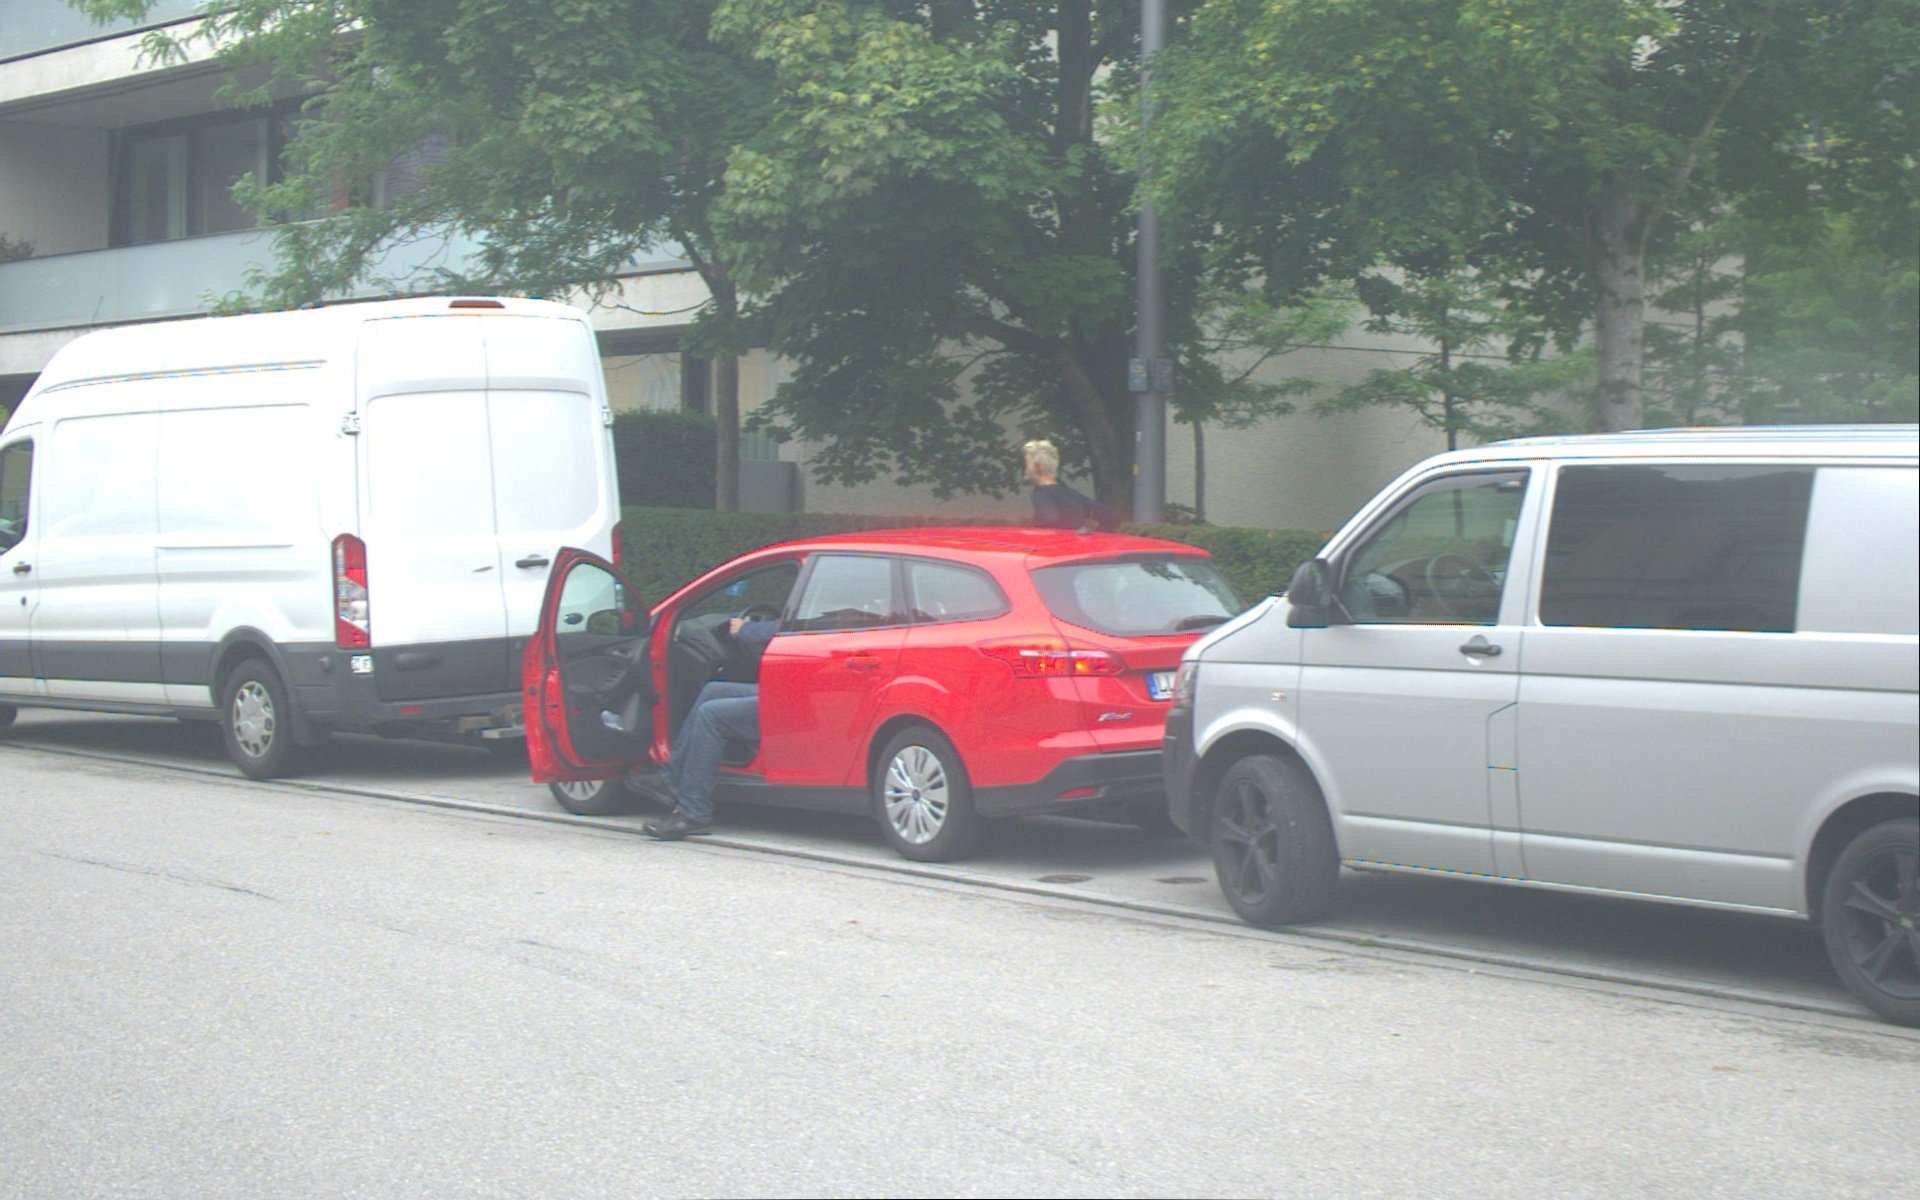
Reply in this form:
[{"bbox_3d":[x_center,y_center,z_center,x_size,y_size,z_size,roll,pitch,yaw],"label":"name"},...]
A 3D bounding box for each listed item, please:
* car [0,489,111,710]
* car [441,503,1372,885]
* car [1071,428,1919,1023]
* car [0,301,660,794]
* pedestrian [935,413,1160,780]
[{"bbox_3d":[-8.752,-0.069,26.806,1.872,1.564,4.999,-4,5,-43],"label":"car"},{"bbox_3d":[-0.415,0.333,17.020,1.872,1.501,4.836,-4,5,-42],"label":"car"},{"bbox_3d":[2.830,0.320,12.907,1.936,1.898,5.070,-3,4,-39],"label":"car"},{"bbox_3d":[-4.579,-0.430,21.626,2.081,2.677,6.085,-3,4,-42],"label":"car"},{"bbox_3d":[0.464,-0.027,18.360,0.795,1.897,0.865,1,1,-34],"label":"pedestrian"}]
